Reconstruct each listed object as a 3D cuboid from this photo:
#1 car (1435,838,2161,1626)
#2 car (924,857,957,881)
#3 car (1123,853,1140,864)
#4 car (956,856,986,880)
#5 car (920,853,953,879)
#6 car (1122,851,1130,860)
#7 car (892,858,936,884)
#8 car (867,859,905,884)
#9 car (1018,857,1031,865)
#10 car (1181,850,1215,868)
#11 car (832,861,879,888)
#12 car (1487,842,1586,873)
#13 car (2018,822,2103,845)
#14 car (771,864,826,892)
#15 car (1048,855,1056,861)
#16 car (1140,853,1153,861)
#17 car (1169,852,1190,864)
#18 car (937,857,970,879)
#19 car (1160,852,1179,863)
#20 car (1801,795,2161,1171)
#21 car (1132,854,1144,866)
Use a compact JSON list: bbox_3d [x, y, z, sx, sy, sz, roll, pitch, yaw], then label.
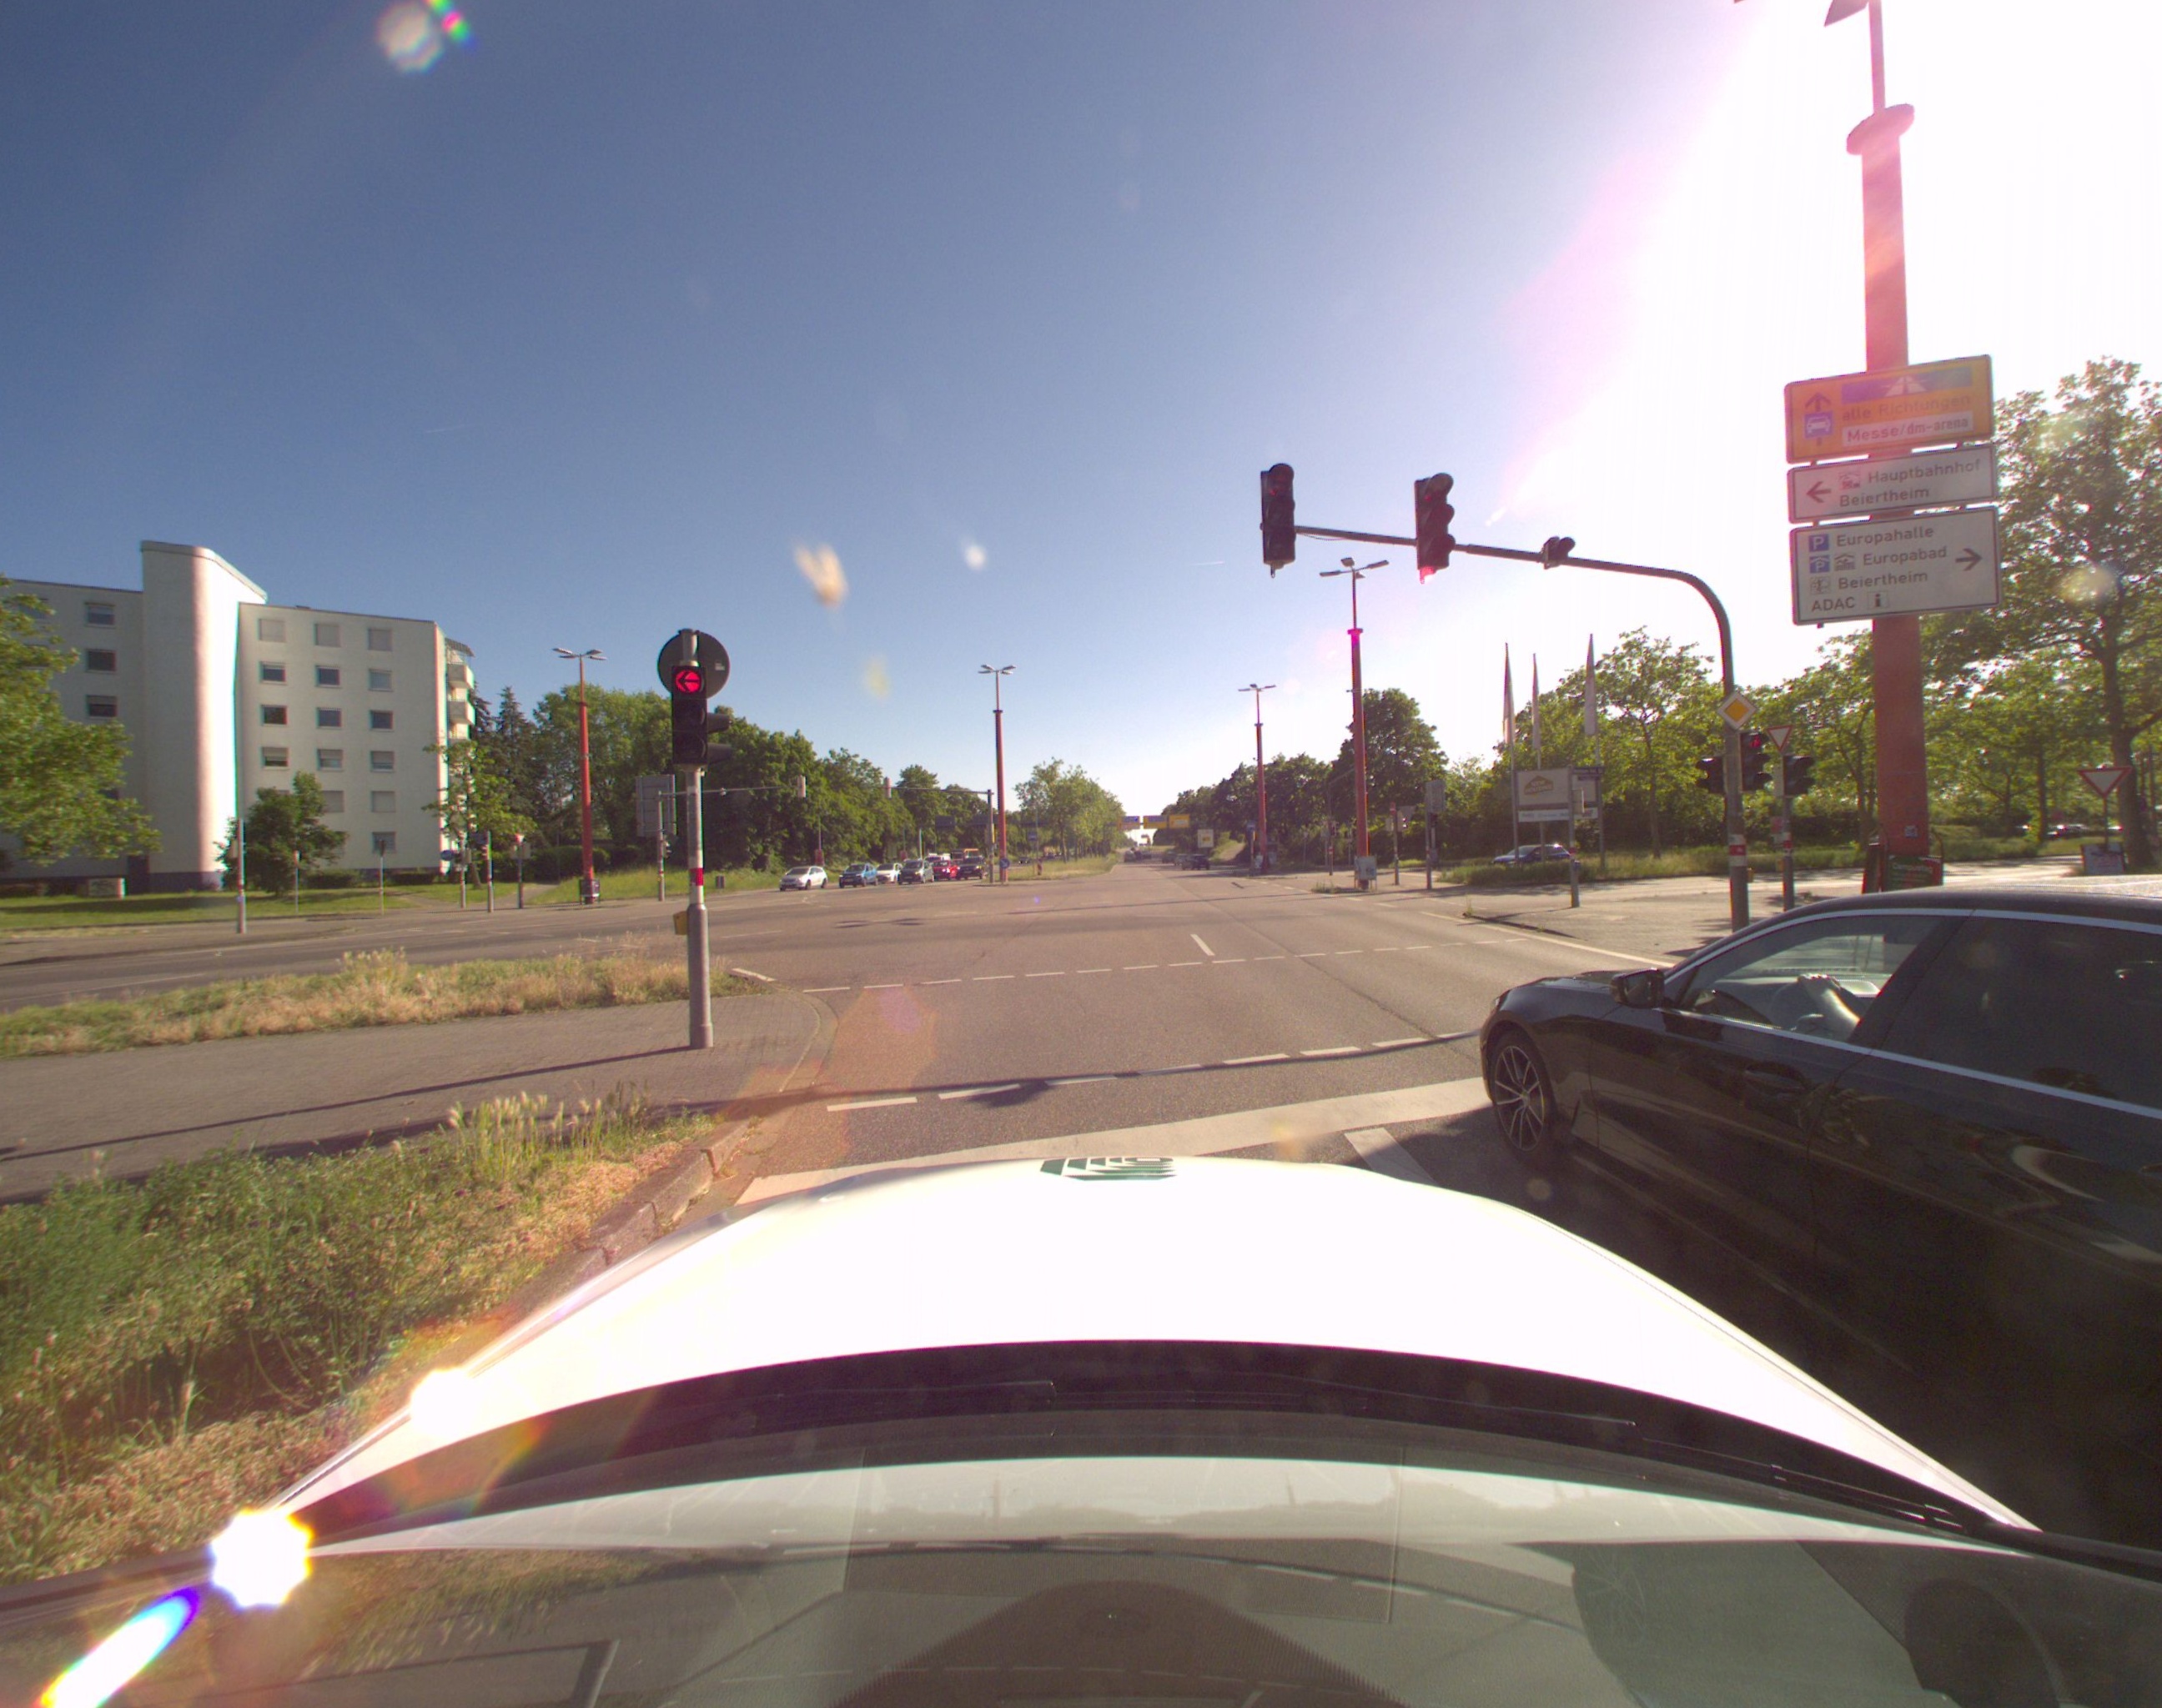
[{"bbox_3d":[2.954,0.668,2.371,1.986,1.394,4.479,-2,0,2],"label":"car"},{"bbox_3d":[-10.102,1.048,58.870,1.991,1.573,4.112,-2,0,-6],"label":"car"},{"bbox_3d":[8.093,0.717,131.626,2.241,1.573,4.276,-2,0,-3],"label":"car"},{"bbox_3d":[-7.564,0.941,56.488,1.874,1.573,4.112,-2,0,-6],"label":"car"},{"bbox_3d":[-12.733,1.055,71.985,2.055,2.193,4.377,-2,0,0],"label":"car"},{"bbox_3d":[11.417,0.384,205.834,1.986,2.013,4.002,-2,0,2],"label":"car"},{"bbox_3d":[-10.731,1.048,52.579,1.988,1.573,4.119,-2,0,-1],"label":"car"},{"bbox_3d":[-13.737,1.218,57.522,1.991,1.573,4.112,-3,0,-6],"label":"car"},{"bbox_3d":[-11.106,1.405,160.109,1.985,1.573,4.123,-2,0,2],"label":"car"},{"bbox_3d":[10.962,0.478,76.378,2.156,1.573,4.272,-2,0,-6],"label":"car"},{"bbox_3d":[-14.235,1.286,51.639,1.989,1.573,4.116,-2,0,-3],"label":"car"},{"bbox_3d":[22.870,0.170,40.890,4.276,1.428,1.874,-2,0,-16],"label":"car"},{"bbox_3d":[77.311,-1.613,64.310,2.176,1.573,4.232,-2,0,-38],"label":"car"},{"bbox_3d":[-17.692,1.469,51.179,1.987,1.573,4.120,-2,0,0],"label":"car"},{"bbox_3d":[-7.430,1.008,210.685,1.877,1.454,3.658,-2,0,2],"label":"car"},{"bbox_3d":[13.274,0.678,164.596,2.153,1.573,4.277,-2,0,-2],"label":"car"},{"bbox_3d":[12.726,0.518,105.460,2.153,1.573,4.277,-2,0,-2],"label":"car"},{"bbox_3d":[-10.064,1.095,64.652,1.988,1.573,4.118,-2,0,-1],"label":"car"},{"bbox_3d":[13.020,0.540,119.691,2.153,1.573,4.277,-2,0,-2],"label":"car"},{"bbox_3d":[5.801,0.563,3.260,1.959,1.686,4.479,-1,0,2],"label":"car"},{"bbox_3d":[10.480,1.079,150.242,1.986,2.013,4.002,-2,0,2],"label":"car"}]
